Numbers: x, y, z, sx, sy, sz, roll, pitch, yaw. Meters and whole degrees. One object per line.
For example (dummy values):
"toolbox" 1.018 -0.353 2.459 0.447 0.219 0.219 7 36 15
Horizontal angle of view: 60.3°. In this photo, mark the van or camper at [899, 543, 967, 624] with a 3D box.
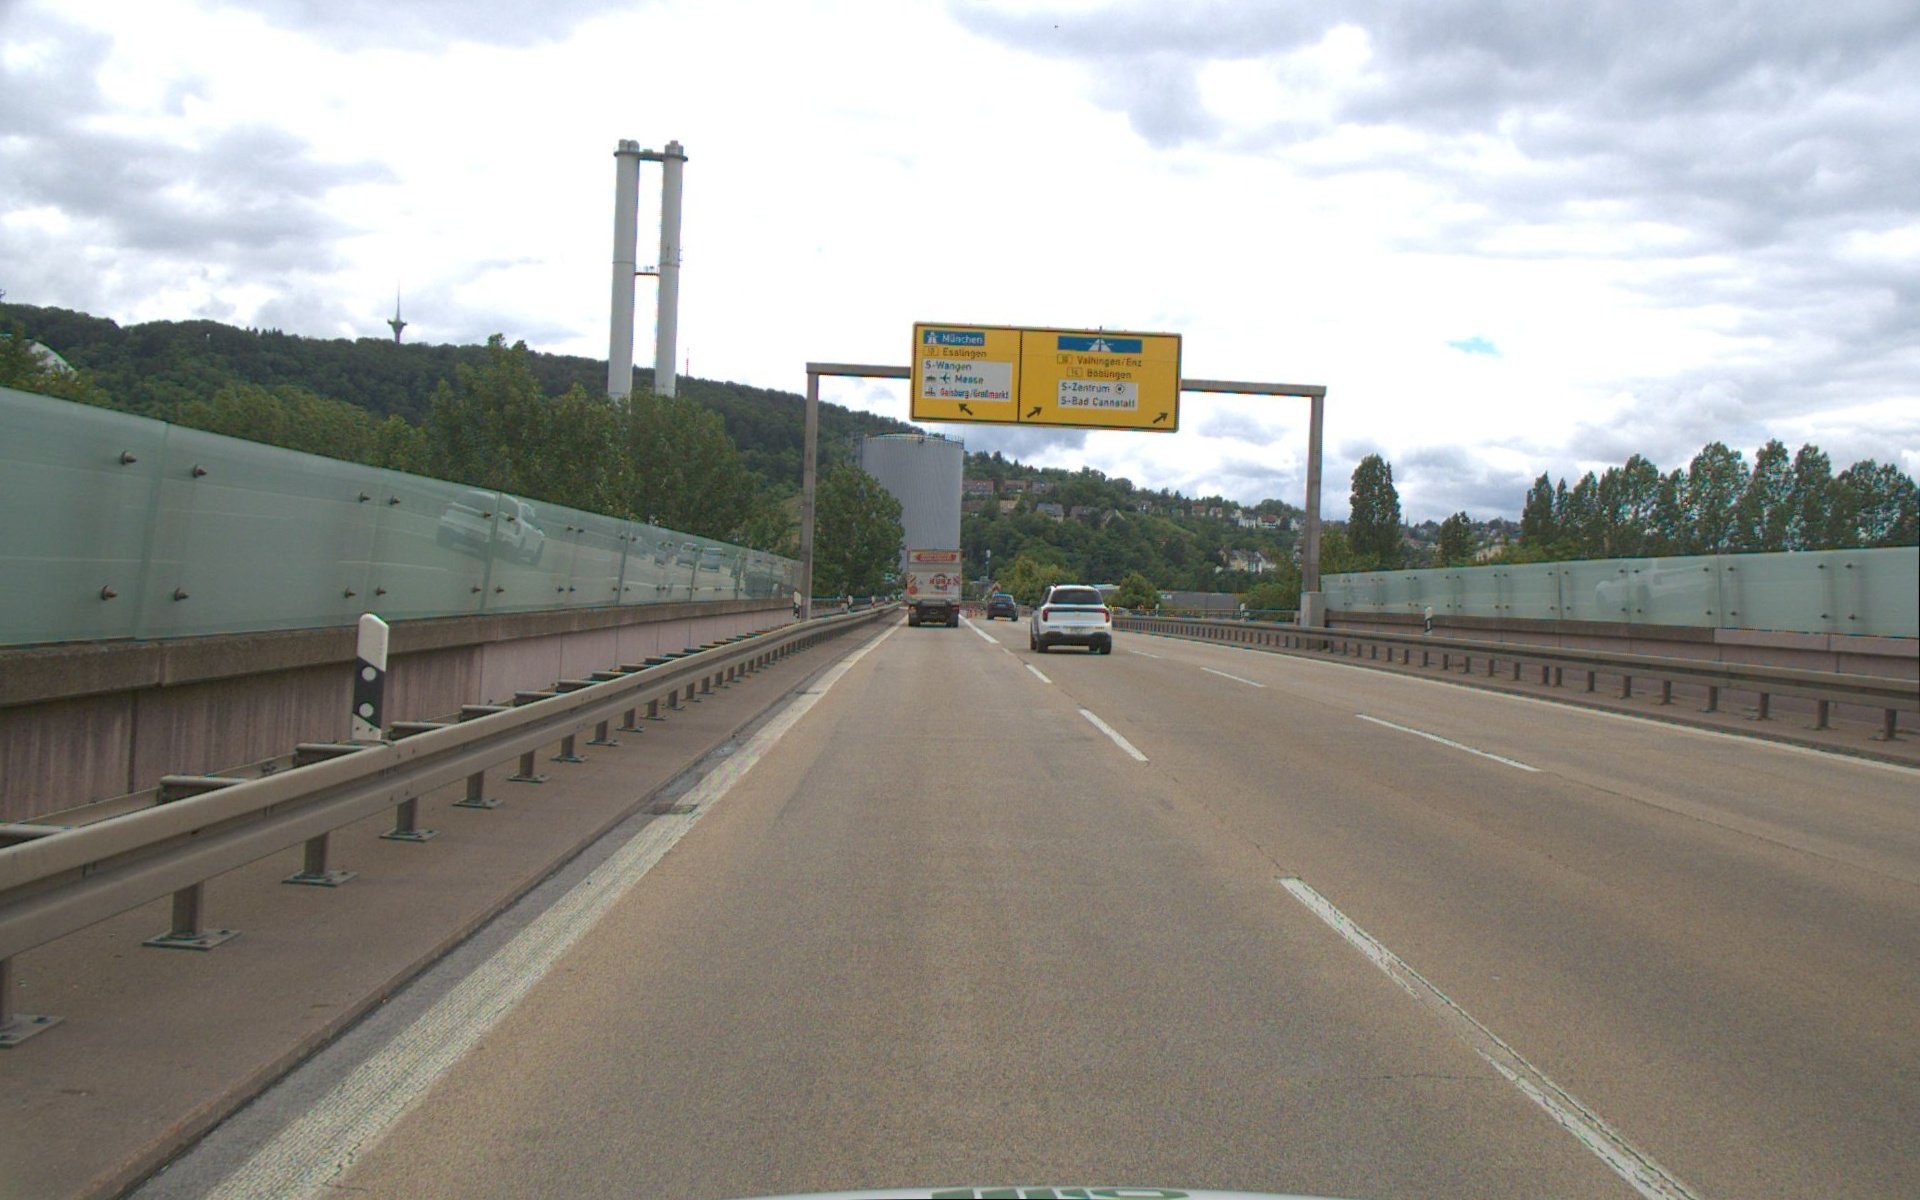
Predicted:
"van or camper" -1.234 -0.746 79.530 3.058 3.641 8.550 1 0 0

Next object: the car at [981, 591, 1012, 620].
"car" 2.351 0.355 107.120 1.884 1.816 4.113 1 1 -1

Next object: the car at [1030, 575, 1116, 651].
"car" 2.815 0.287 42.018 1.884 1.816 4.113 1 1 0
